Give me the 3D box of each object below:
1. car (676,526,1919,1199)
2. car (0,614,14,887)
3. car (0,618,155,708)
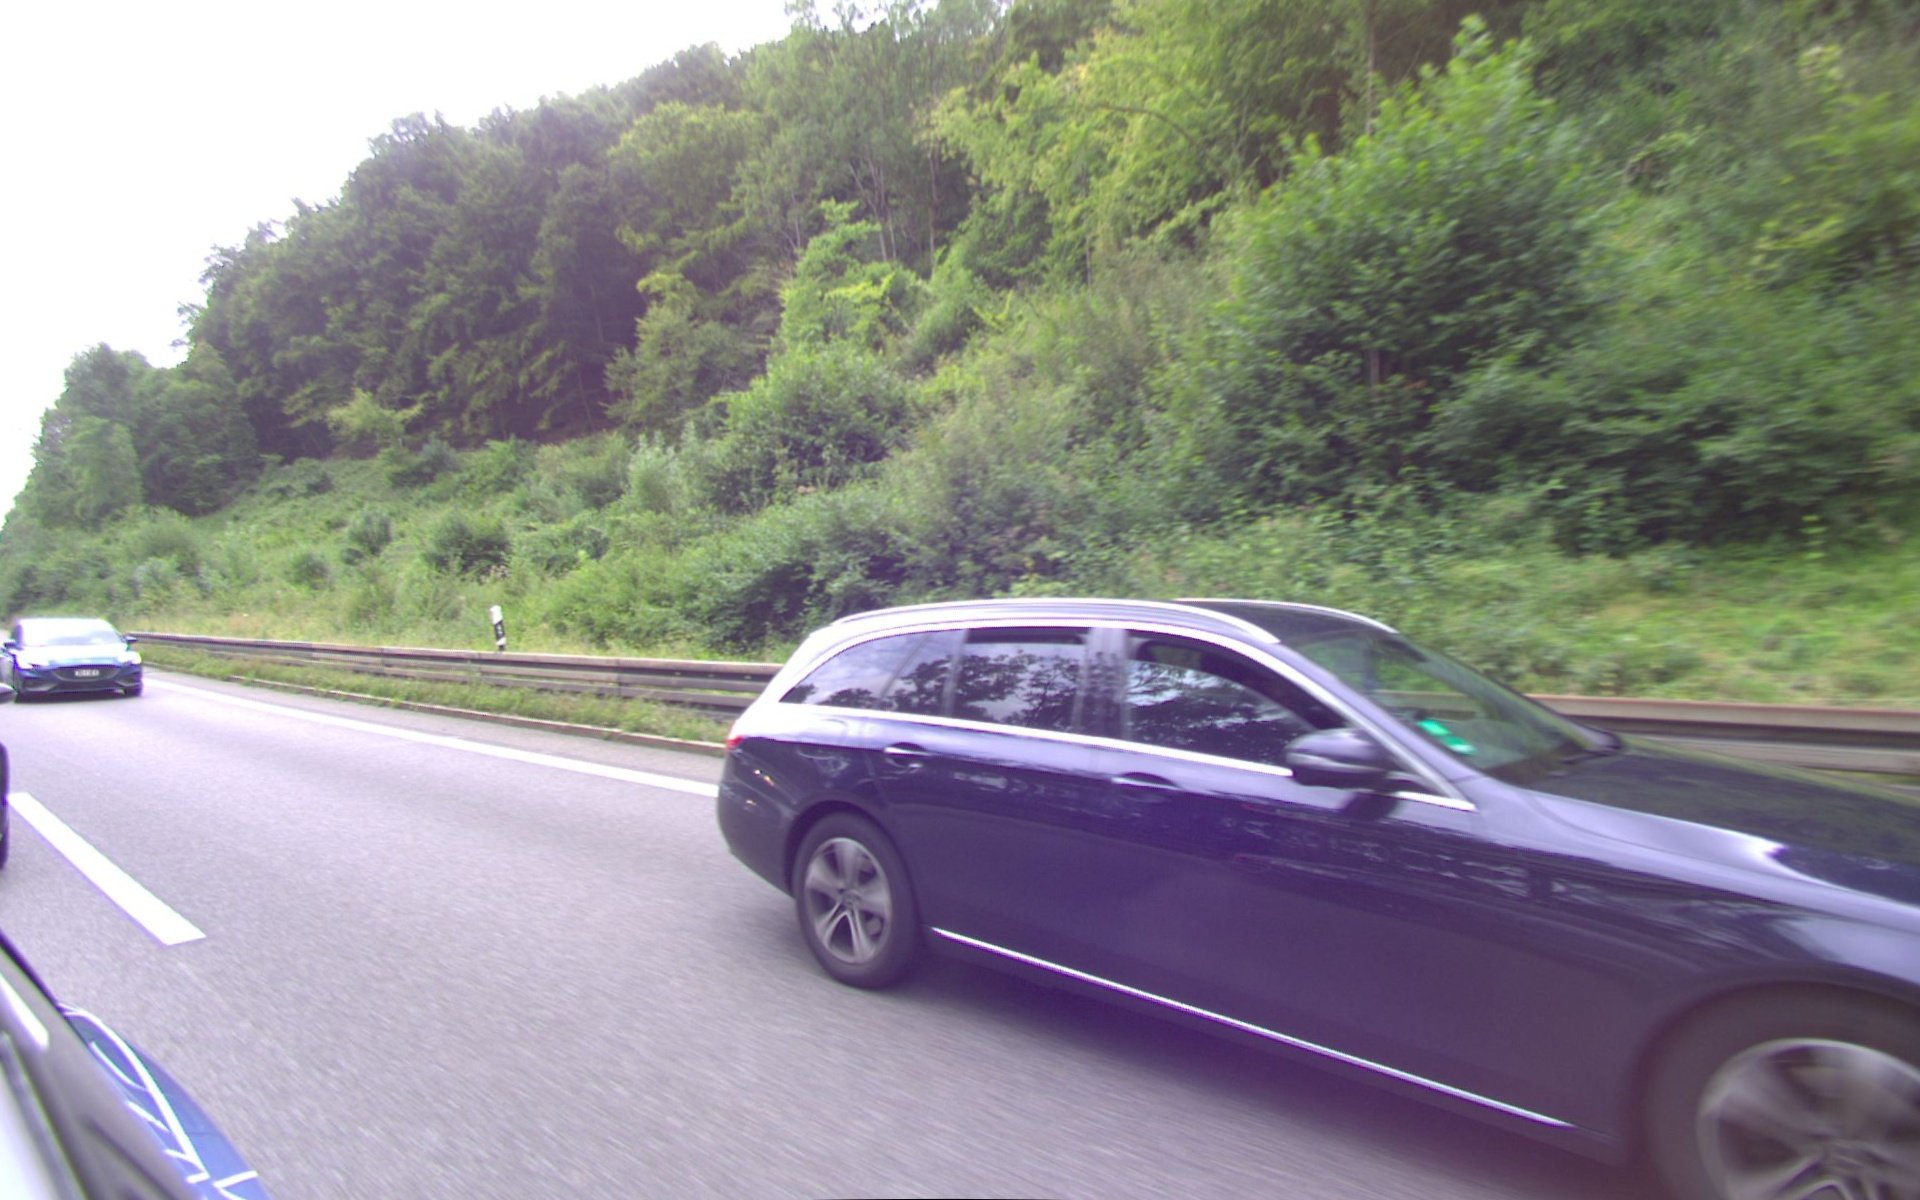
[{"bbox_3d":[1.238,0.632,3.492,5.119,1.474,1.742,-2,-1,41],"label":"car"},{"bbox_3d":[-7.204,0.846,6.173,4.400,1.428,1.728,-2,-1,42],"label":"car"},{"bbox_3d":[-16.838,1.096,19.076,4.552,1.480,1.817,-1,-1,41],"label":"car"}]
